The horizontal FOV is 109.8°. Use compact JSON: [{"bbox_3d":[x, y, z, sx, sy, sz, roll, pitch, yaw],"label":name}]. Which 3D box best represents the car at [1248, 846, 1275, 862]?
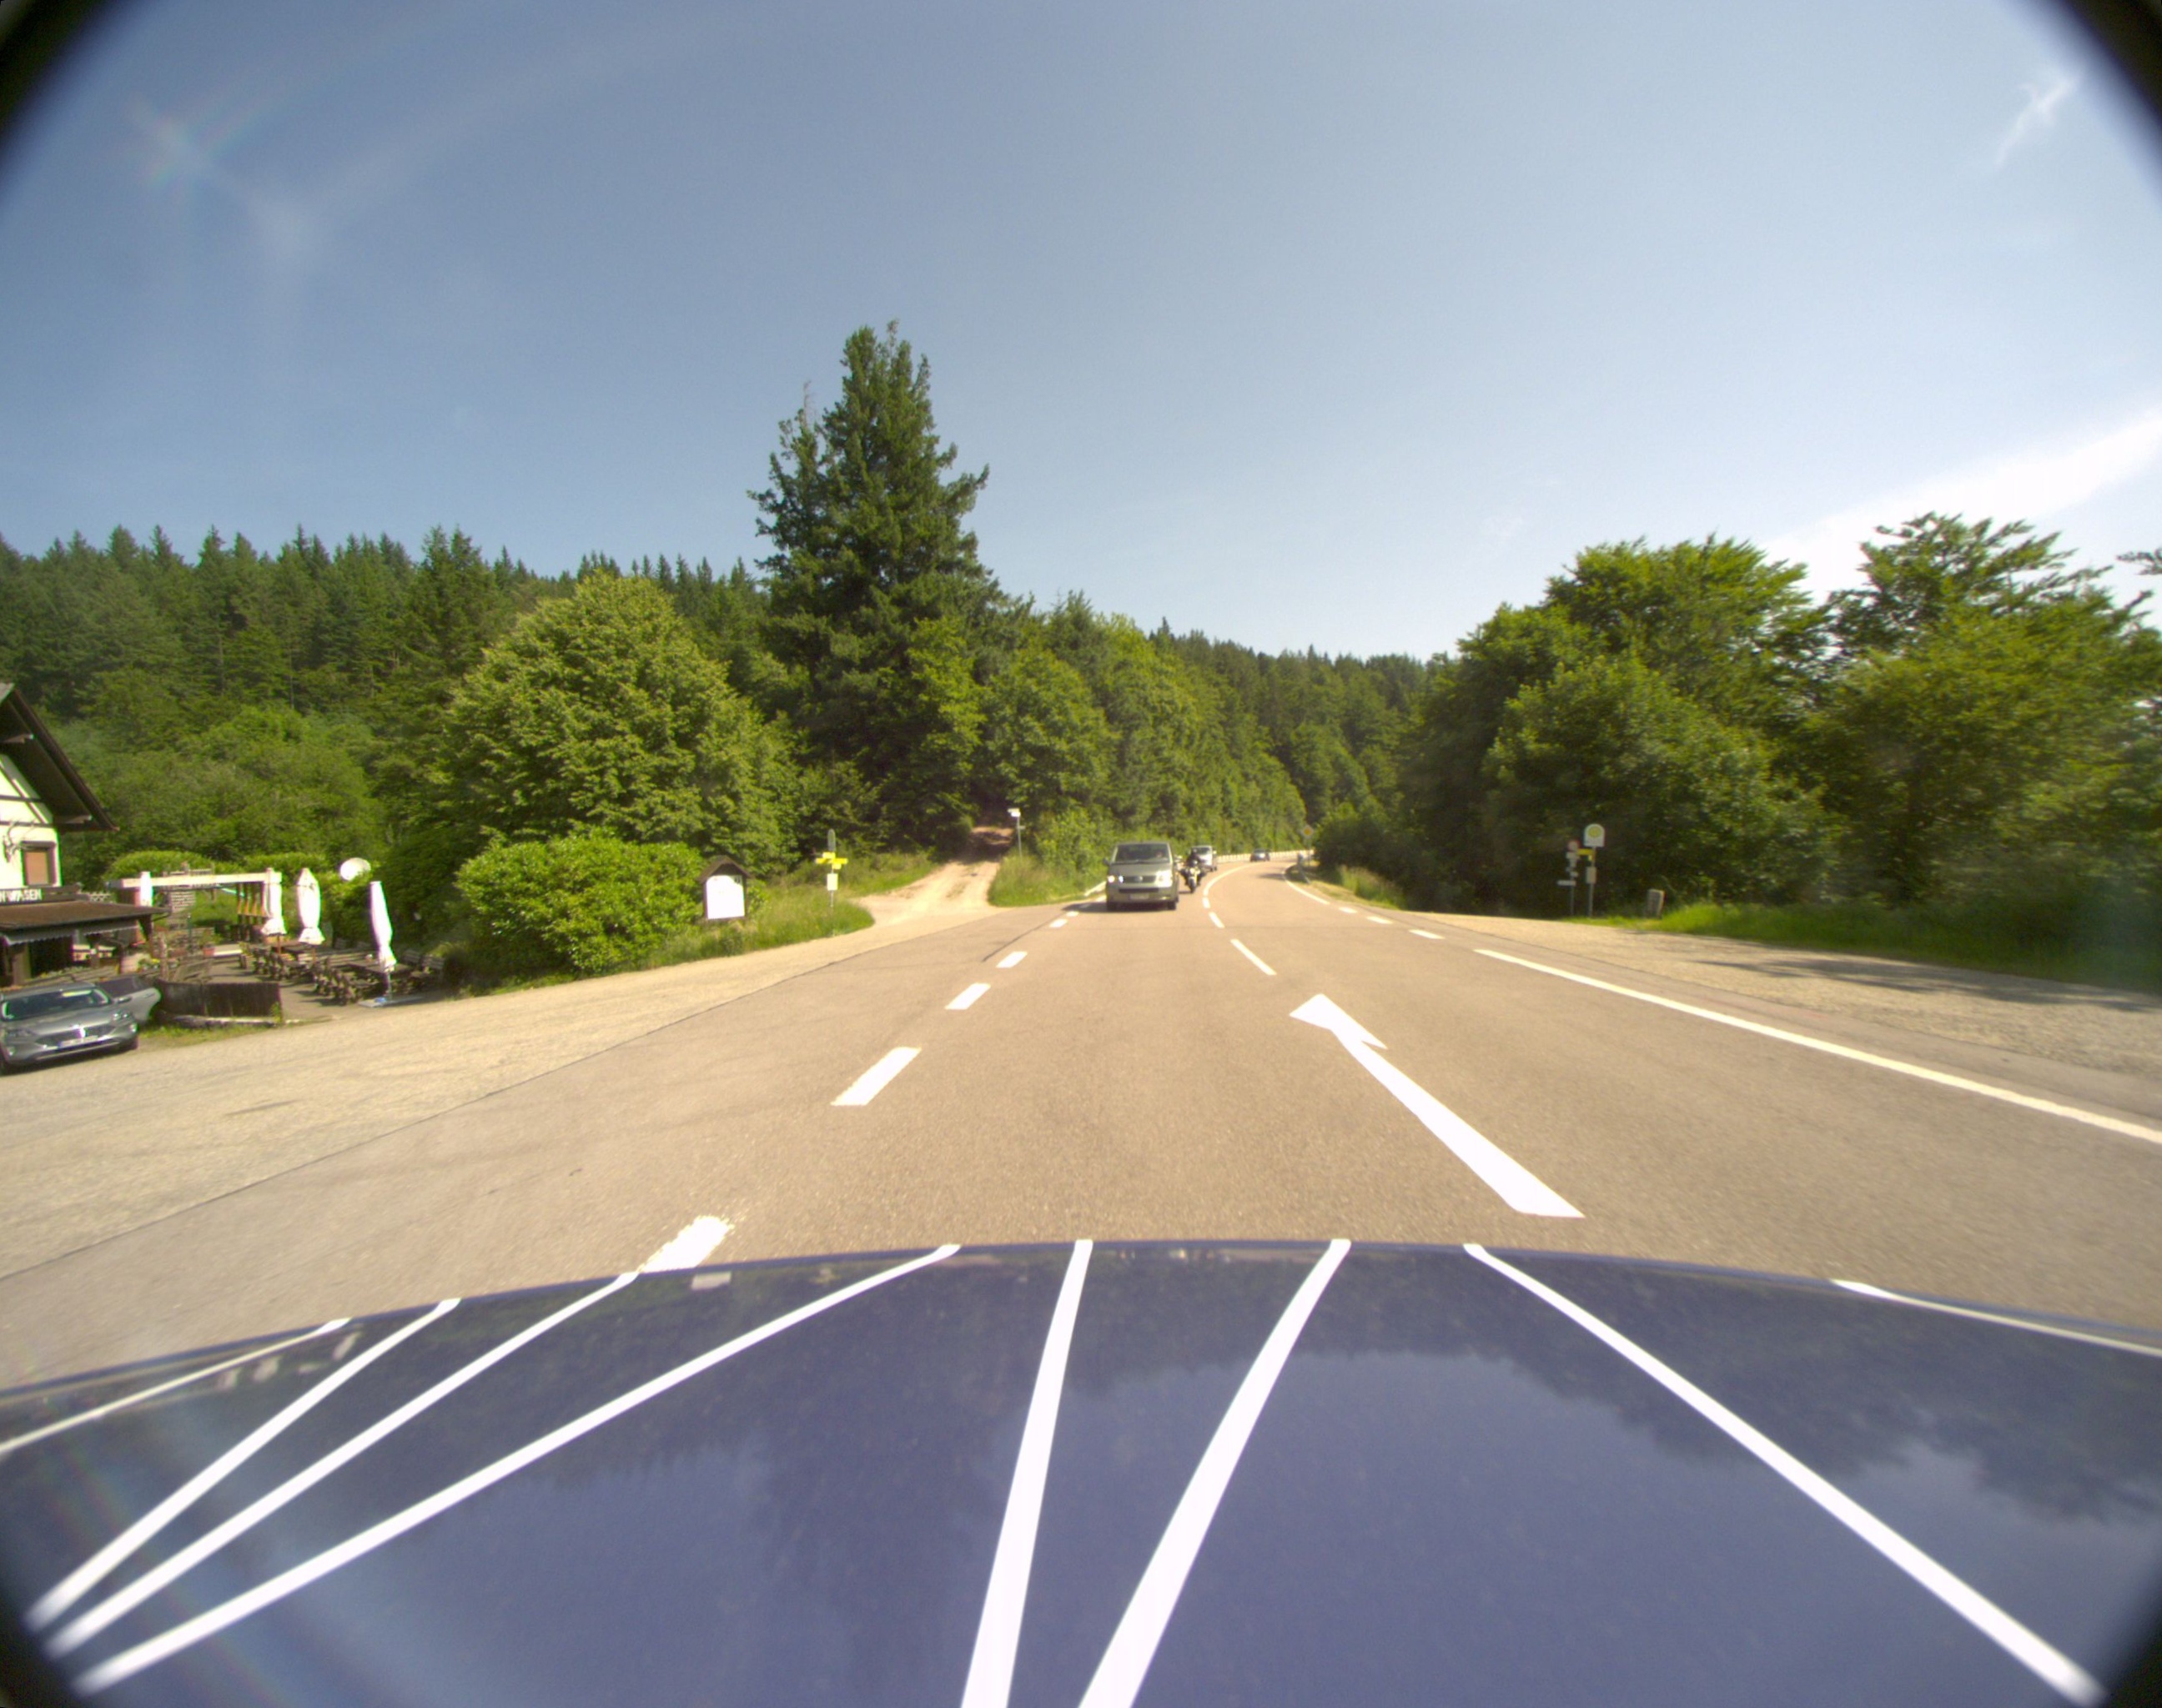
[{"bbox_3d":[20.242,-0.068,85.185,1.995,1.633,4.007,-3,0,26],"label":"car"}]

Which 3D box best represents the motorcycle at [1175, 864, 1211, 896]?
[{"bbox_3d":[4.221,0.968,28.505,1.108,1.117,1.963,-2,0,14],"label":"motorcycle"}]

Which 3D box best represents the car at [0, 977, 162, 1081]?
[{"bbox_3d":[-23.308,3.869,17.343,4.468,1.614,1.980,-4,5,29],"label":"car"}]

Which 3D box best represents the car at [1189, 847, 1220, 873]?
[{"bbox_3d":[9.002,0.397,55.082,1.651,1.749,3.799,-1,1,17],"label":"car"}]

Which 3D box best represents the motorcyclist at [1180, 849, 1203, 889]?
[{"bbox_3d":[4.153,0.567,28.516,0.716,1.421,1.000,-4,0,12],"label":"motorcyclist"}]

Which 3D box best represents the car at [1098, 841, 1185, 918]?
[{"bbox_3d":[1.882,0.639,22.061,2.028,1.940,4.902,-2,0,10],"label":"car"}]
